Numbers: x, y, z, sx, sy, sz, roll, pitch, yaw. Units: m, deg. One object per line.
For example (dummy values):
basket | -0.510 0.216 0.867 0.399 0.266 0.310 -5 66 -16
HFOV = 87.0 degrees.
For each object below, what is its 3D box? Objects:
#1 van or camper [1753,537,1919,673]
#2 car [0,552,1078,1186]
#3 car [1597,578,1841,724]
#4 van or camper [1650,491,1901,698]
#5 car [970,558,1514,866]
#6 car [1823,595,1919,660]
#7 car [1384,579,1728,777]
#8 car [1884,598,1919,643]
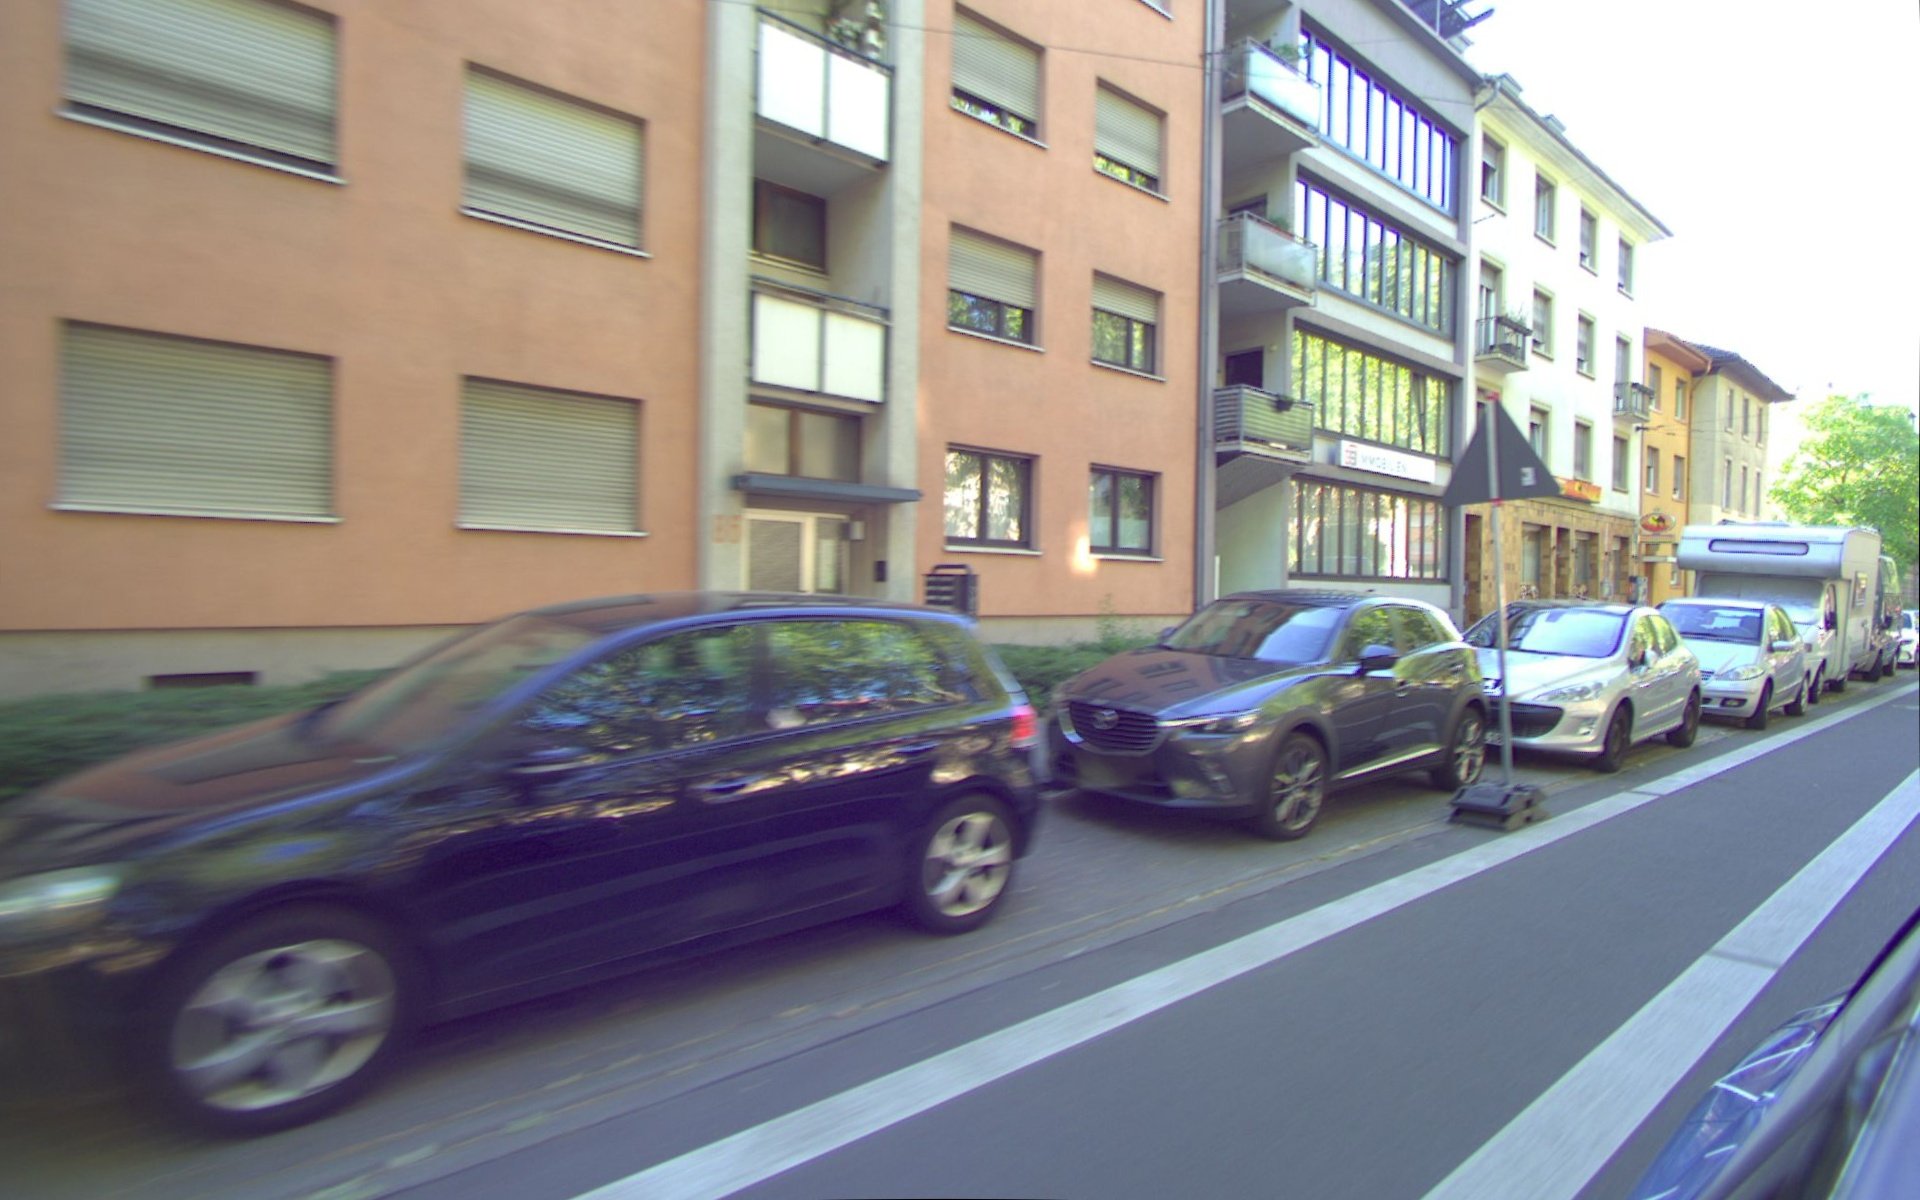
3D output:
van or camper | 19.697 0.050 22.612 4.893 2.695 2.137 0 3 -41
car | -1.546 0.606 4.118 4.095 1.491 1.709 0 2 -41
car | 10.534 0.583 13.941 4.202 1.648 1.797 0 3 -41
van or camper | 14.777 -0.155 18.165 6.161 3.101 2.466 0 3 -42
car | 2.264 0.567 7.443 4.261 1.591 1.771 0 3 -41
car | 24.780 0.675 26.943 4.656 1.512 1.998 0 3 -40
car | 6.212 0.619 10.329 4.248 1.540 1.791 0 3 -42
car | 32.252 0.678 33.443 4.657 1.397 1.998 0 3 -41
